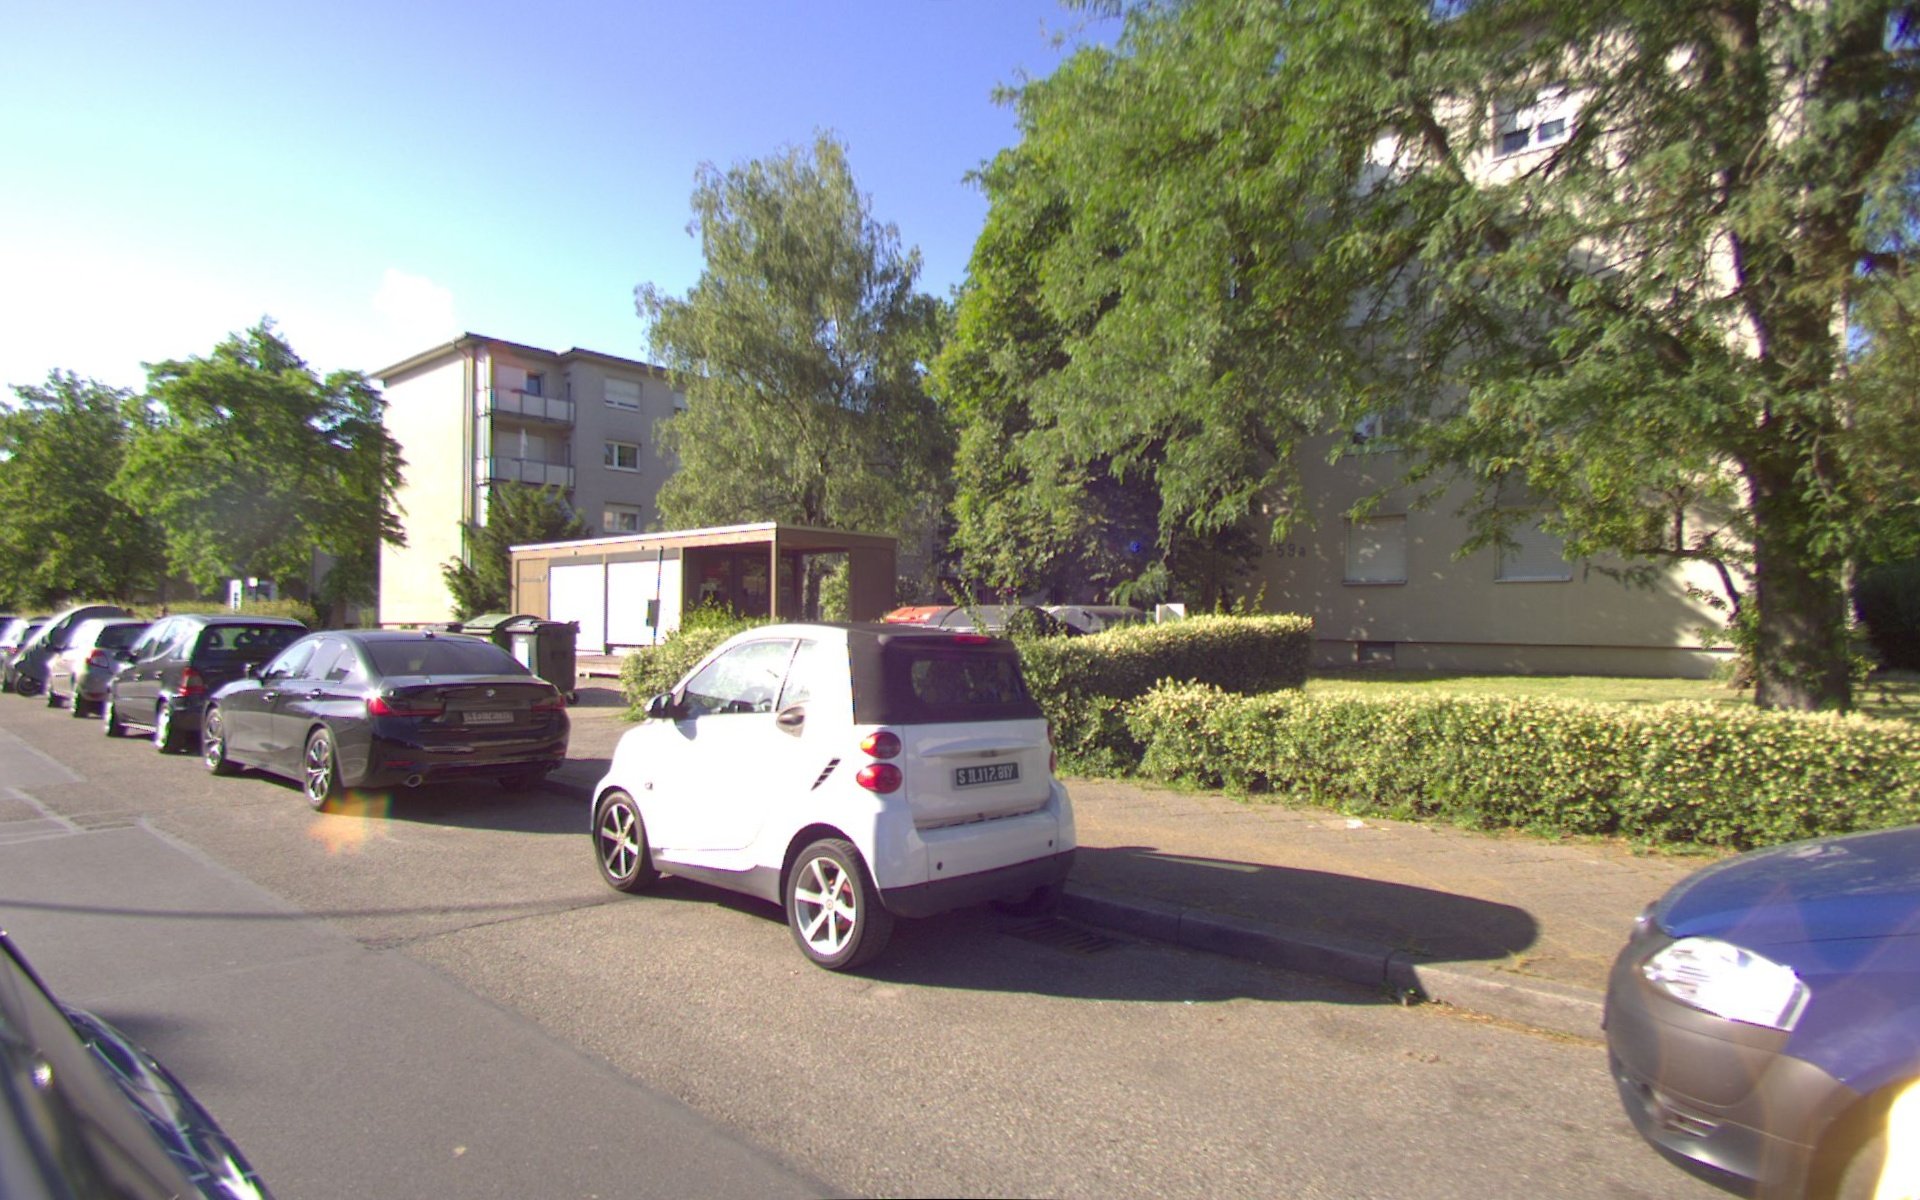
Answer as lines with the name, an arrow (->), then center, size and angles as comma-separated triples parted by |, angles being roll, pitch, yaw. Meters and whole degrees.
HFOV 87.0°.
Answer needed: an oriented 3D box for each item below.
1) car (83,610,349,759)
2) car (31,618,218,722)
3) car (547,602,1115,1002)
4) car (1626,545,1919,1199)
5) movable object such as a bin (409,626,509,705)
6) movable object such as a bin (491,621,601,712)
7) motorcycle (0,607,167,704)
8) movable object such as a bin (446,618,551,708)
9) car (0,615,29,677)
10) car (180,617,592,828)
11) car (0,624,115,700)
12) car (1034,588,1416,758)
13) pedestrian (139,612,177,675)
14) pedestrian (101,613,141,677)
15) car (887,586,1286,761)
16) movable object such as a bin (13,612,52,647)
car -> -9.336, 0.968, 12.619 | 3.716, 1.586, 1.737 | -1, -4, 39
car -> -13.775, 1.087, 16.616 | 3.958, 1.492, 1.735 | -1, -4, 42
car -> -0.857, 0.864, 5.651 | 3.142, 1.586, 1.429 | -1, -4, 42
car -> 3.584, 0.723, 1.665 | 3.966, 1.618, 1.736 | -1, -4, 41
movable object such as a bin -> -8.819, 1.123, 17.822 | 1.342, 1.297, 1.165 | -1, -1, 41
movable object such as a bin -> -6.625, 1.024, 16.183 | 1.343, 1.350, 1.165 | -1, -1, 42
motorcycle -> -16.738, 1.067, 19.343 | 0.931, 1.740, 2.235 | -1, -4, 37
movable object such as a bin -> -7.745, 1.017, 16.988 | 1.342, 1.419, 1.165 | -1, -1, 41
car -> -27.382, 1.242, 28.059 | 4.367, 1.648, 1.736 | -1, -4, 40
car -> -5.429, 0.942, 9.317 | 4.533, 1.492, 1.737 | -1, -4, 39
car -> -19.381, 1.255, 21.267 | 4.266, 1.432, 1.736 | -1, -4, 40
car -> 2.948, 0.734, 11.730 | 3.995, 1.653, 1.555 | -1, -1, 39
pedestrian -> -21.942, 1.181, 27.696 | 0.599, 1.692, 0.713 | -1, -1, 40
pedestrian -> -22.455, 1.188, 27.093 | 0.616, 1.692, 0.713 | -1, -1, 40
car -> 1.216, 0.671, 10.772 | 3.995, 1.537, 1.555 | -1, -1, 39
movable object such as a bin -> -39.314, 1.229, 42.913 | 1.325, 1.425, 0.992 | -1, 1, 39
